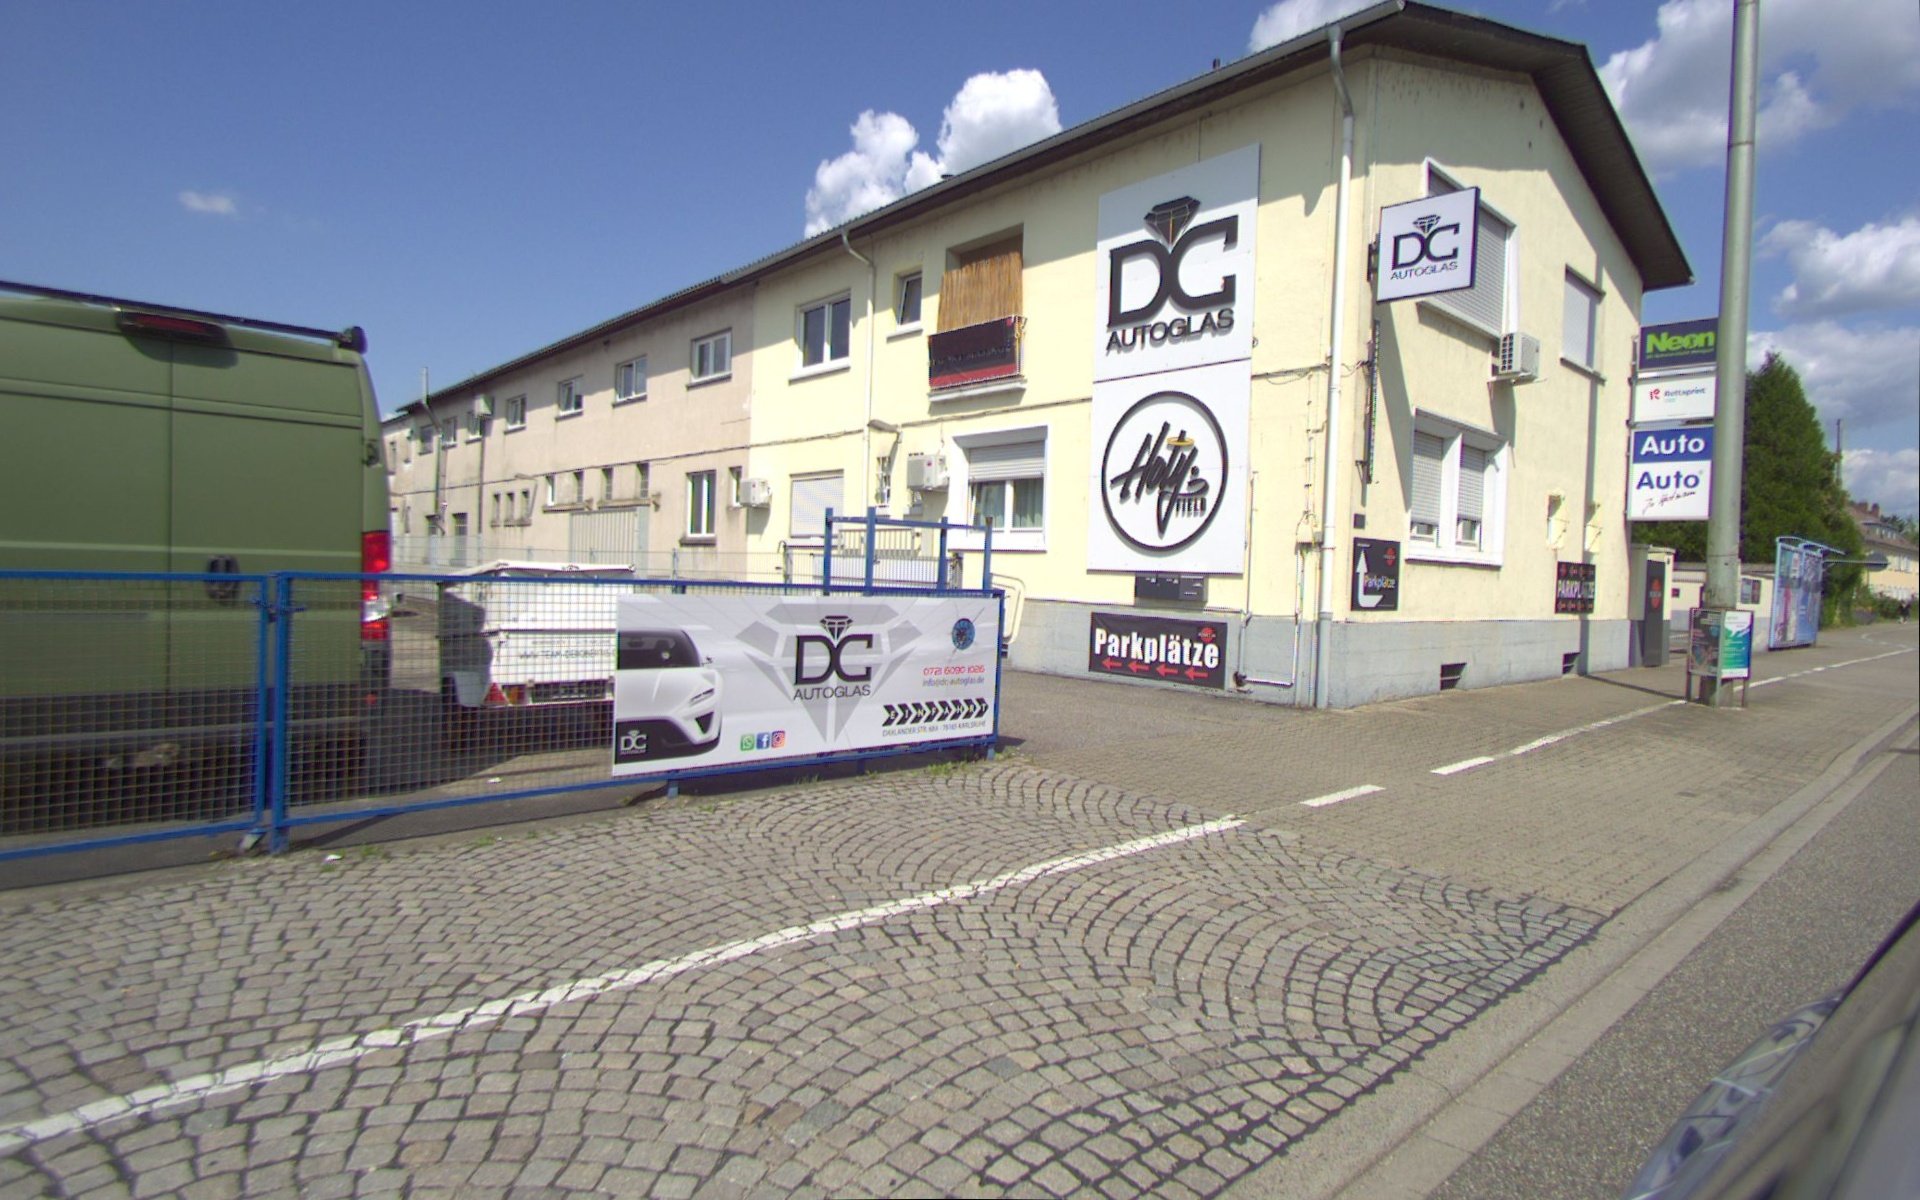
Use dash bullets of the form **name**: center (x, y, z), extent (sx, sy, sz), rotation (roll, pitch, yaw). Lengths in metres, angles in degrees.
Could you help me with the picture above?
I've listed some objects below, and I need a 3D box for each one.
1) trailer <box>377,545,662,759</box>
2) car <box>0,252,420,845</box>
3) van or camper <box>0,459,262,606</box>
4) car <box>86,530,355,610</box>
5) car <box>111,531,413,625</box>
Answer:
- **trailer**: center (-3.603, 0.295, 8.066), extent (1.280, 1.349, 2.788), rotation (1, 2, -41)
- **car**: center (-5.207, -0.361, 6.580), extent (2.113, 2.604, 4.549), rotation (0, 3, -39)
- **van or camper**: center (-18.014, -1.370, 21.453), extent (4.980, 2.807, 2.310), rotation (-1, 3, -45)
- **car**: center (-14.553, -0.593, 20.039), extent (4.111, 1.405, 1.925), rotation (-1, 3, -43)
- **car**: center (-12.014, -0.397, 17.584), extent (4.111, 1.433, 1.755), rotation (-1, 3, -43)
